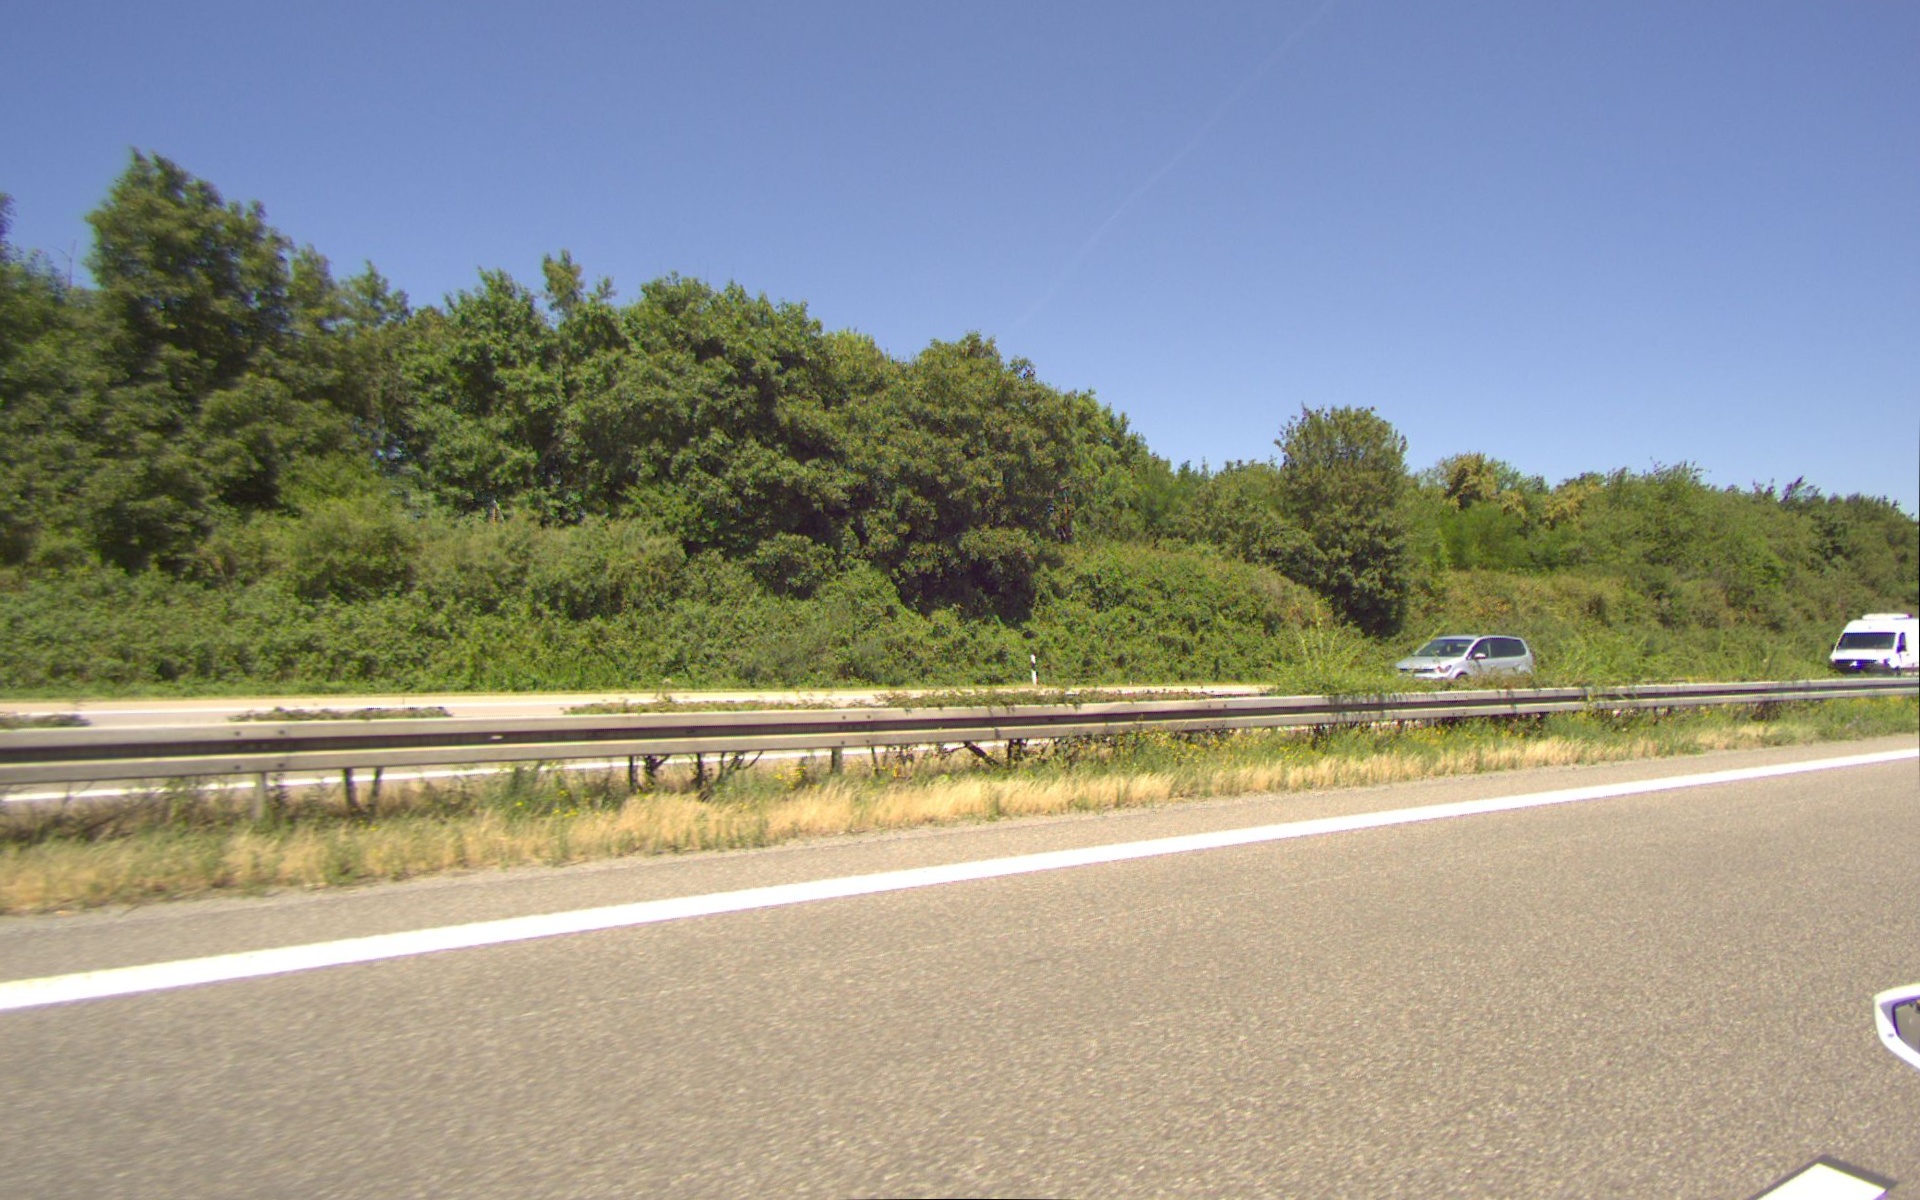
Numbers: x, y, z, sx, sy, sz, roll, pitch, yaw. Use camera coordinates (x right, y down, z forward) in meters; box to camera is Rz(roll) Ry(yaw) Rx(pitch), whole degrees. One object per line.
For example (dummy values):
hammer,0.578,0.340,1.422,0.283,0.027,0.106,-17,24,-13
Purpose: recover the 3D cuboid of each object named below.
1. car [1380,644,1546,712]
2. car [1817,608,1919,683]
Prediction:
car,13.017,1.959,25.934,4.364,1.528,1.733,2,0,-30
car,36.700,1.815,39.836,6.580,2.782,2.026,2,-3,-30
